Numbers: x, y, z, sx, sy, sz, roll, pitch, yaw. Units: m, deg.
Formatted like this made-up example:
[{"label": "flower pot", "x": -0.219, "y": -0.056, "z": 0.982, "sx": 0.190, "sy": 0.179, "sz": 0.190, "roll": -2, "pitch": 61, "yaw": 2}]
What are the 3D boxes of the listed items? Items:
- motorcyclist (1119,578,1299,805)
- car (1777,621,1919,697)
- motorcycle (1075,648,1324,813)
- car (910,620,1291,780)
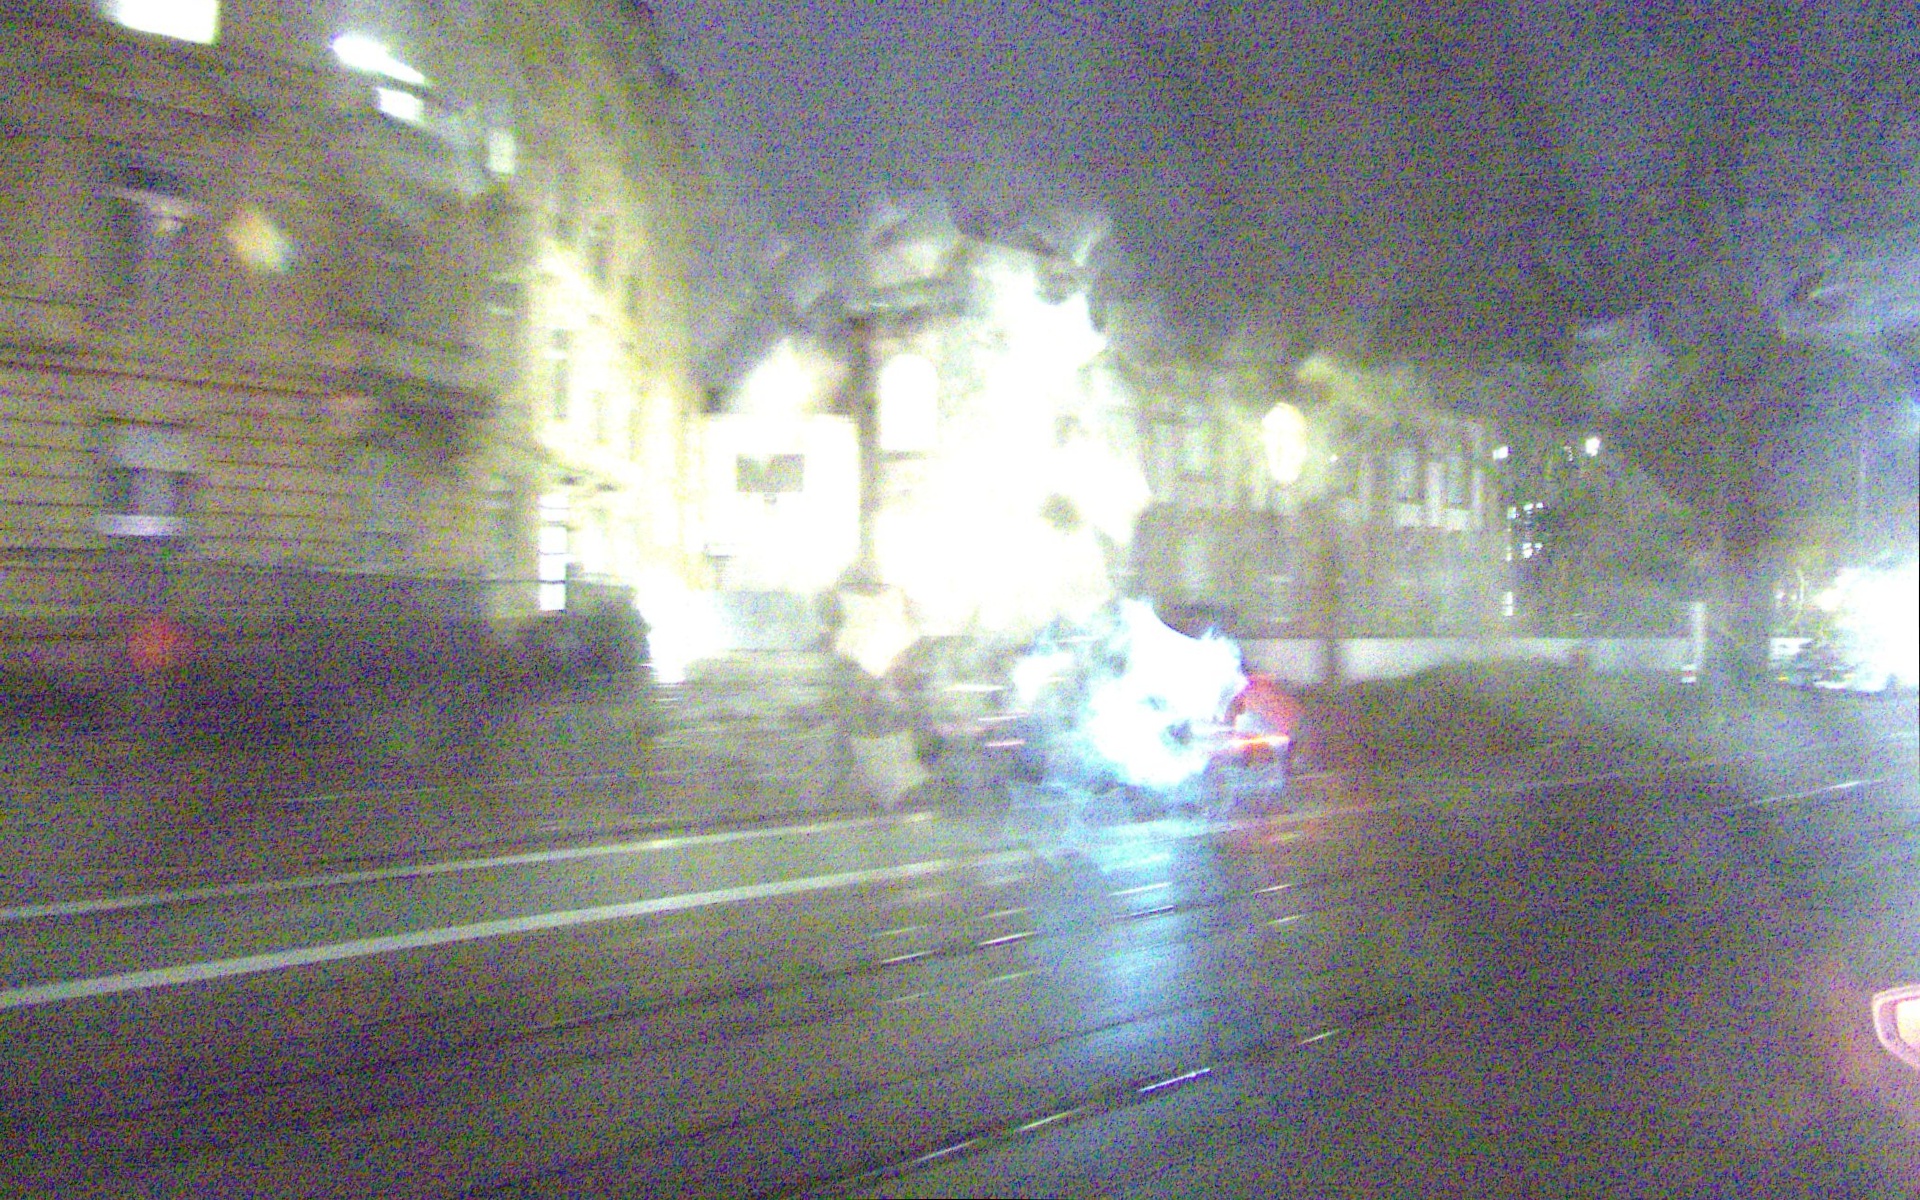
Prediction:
[{"label": "motorcyclist", "x": 2.095, "y": 0.768, "z": 8.519, "sx": 1.122, "sy": 1.762, "sz": 0.915, "roll": 2, "pitch": -6, "yaw": -28}, {"label": "car", "x": 19.429, "y": 1.242, "z": 21.721, "sx": 3.767, "sy": 1.447, "sz": 1.600, "roll": 2, "pitch": 1, "yaw": -33}, {"label": "motorcycle", "x": 2.024, "y": 1.058, "z": 8.454, "sx": 1.976, "sy": 1.246, "sz": 0.814, "roll": 2, "pitch": -6, "yaw": -28}, {"label": "car", "x": 1.605, "y": 1.014, "z": 11.085, "sx": 3.954, "sy": 1.405, "sz": 1.660, "roll": 2, "pitch": 1, "yaw": -30}]
